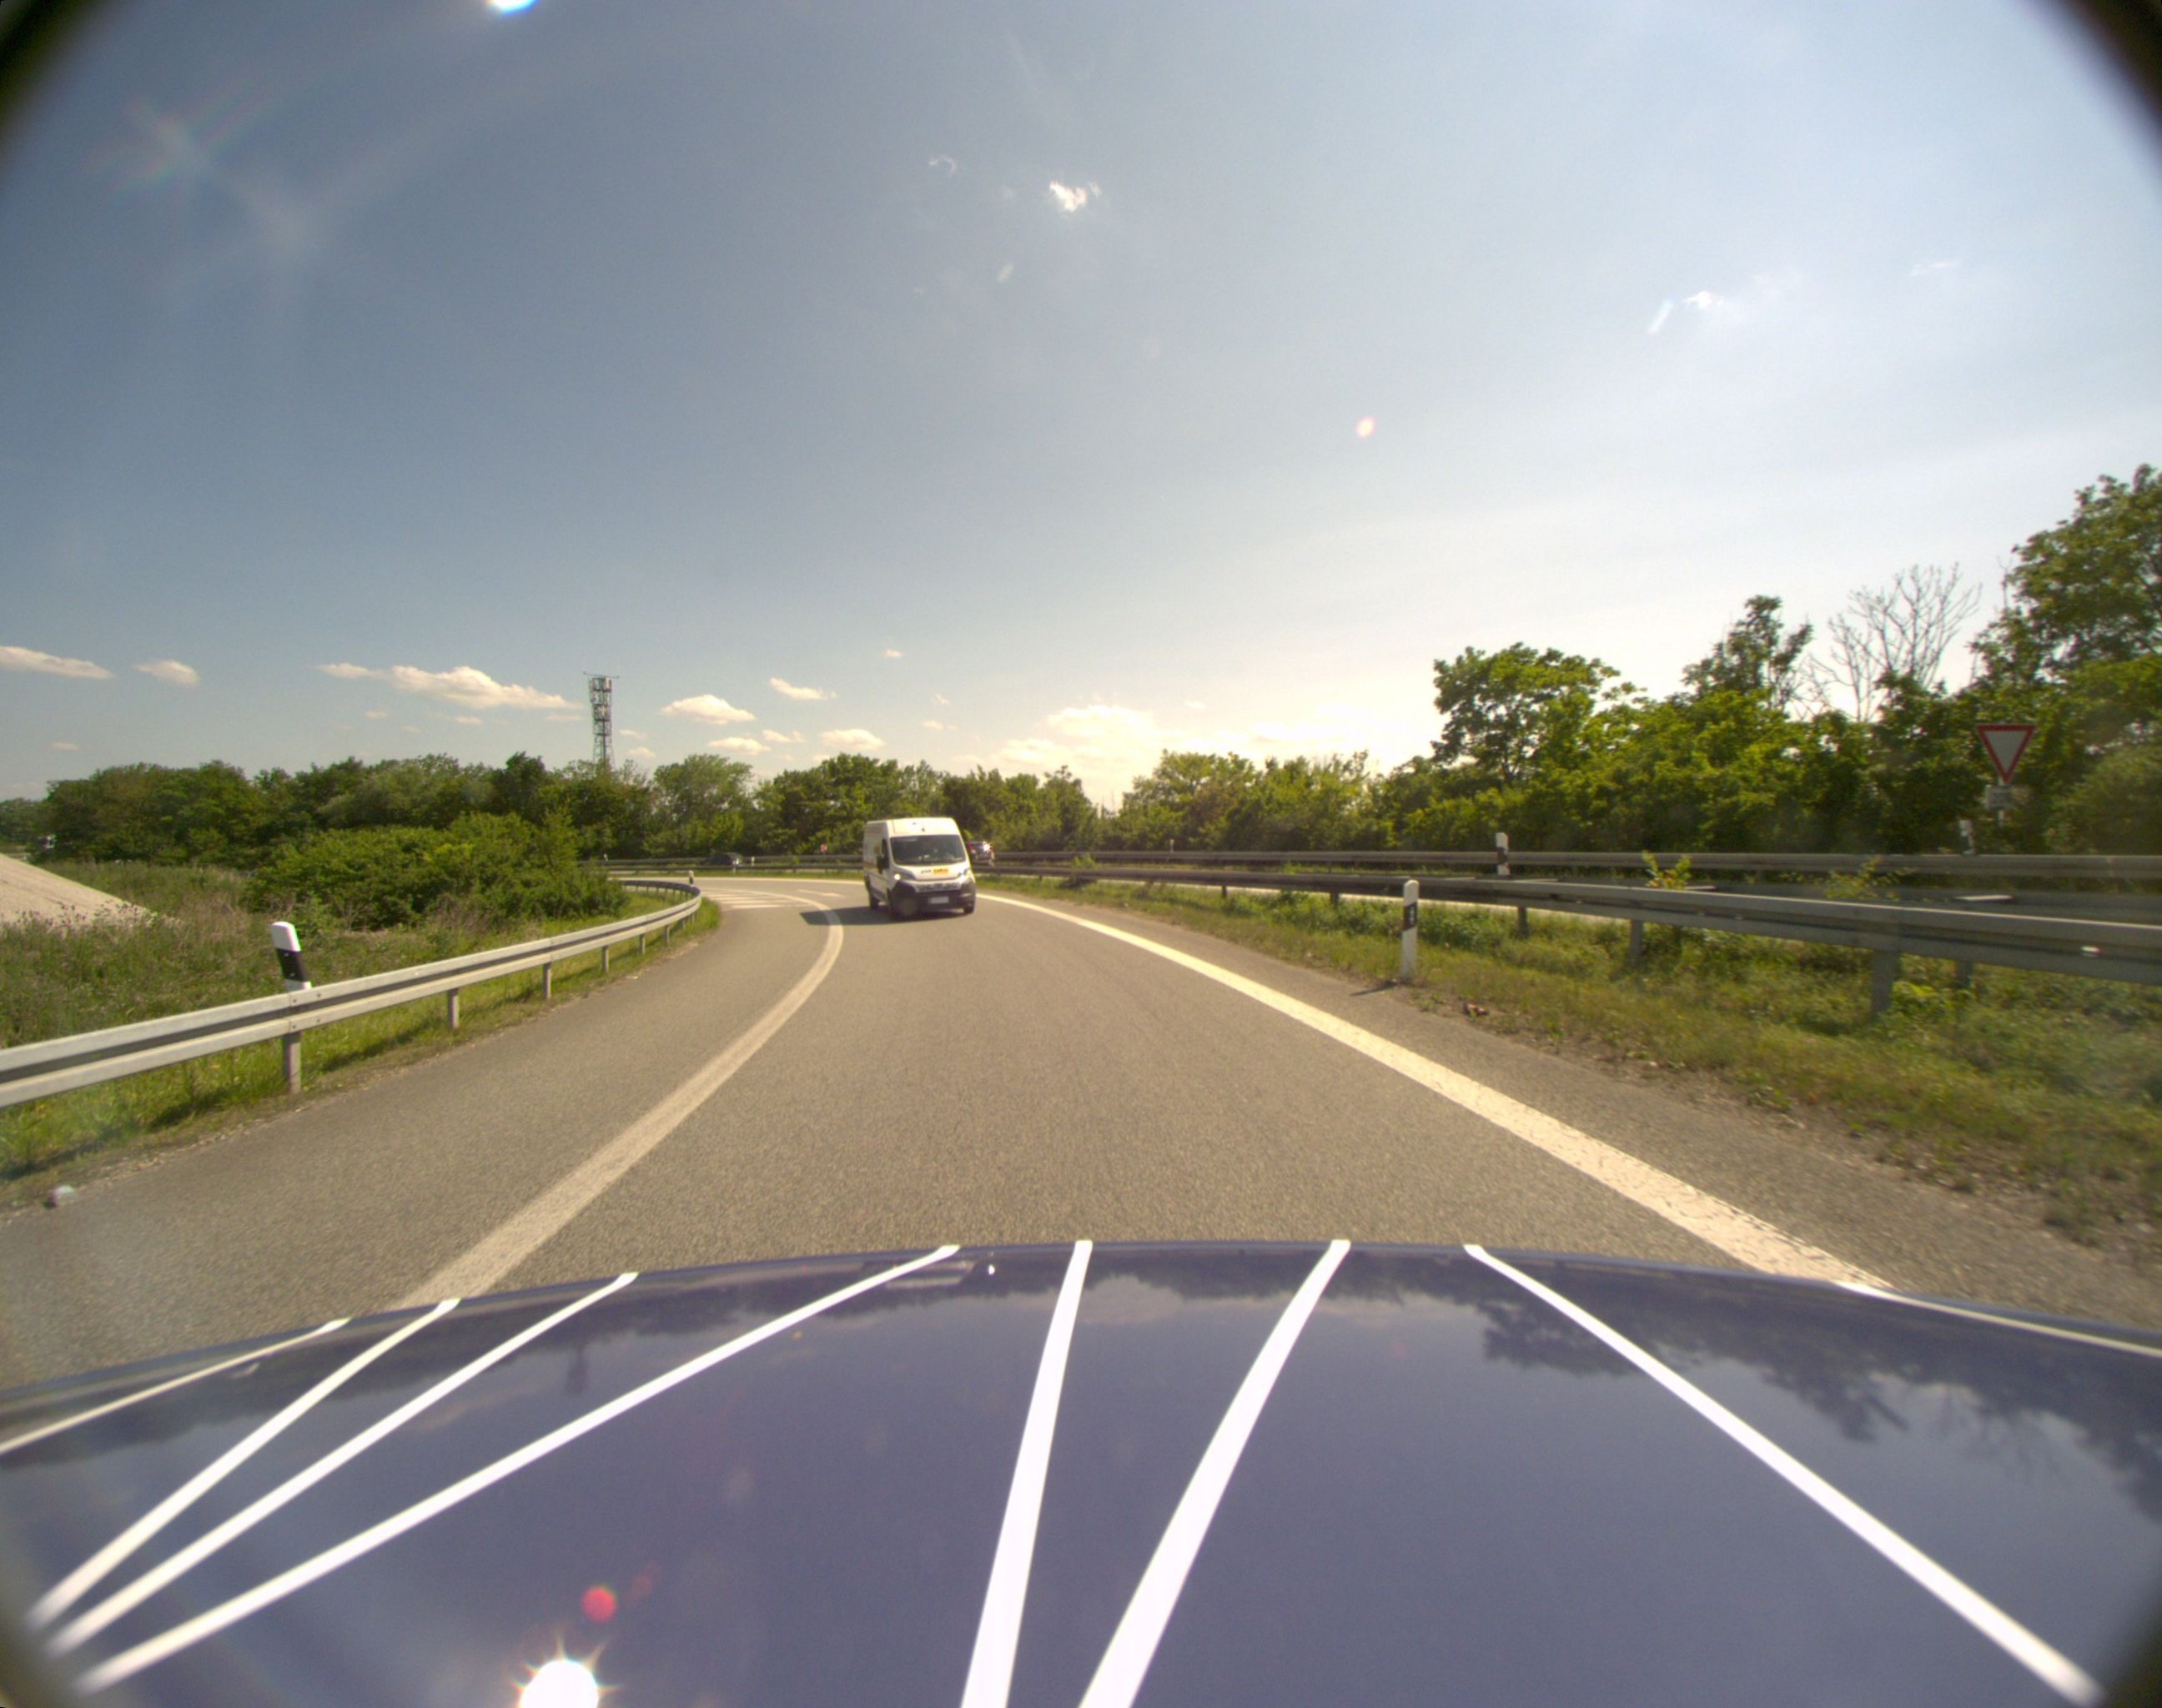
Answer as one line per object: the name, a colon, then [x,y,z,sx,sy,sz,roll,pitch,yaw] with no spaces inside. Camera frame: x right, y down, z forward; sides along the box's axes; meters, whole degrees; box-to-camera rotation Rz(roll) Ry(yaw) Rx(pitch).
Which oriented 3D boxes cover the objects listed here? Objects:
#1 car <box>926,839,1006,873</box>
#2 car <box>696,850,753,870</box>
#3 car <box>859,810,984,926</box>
car: [-6.606,0.125,43.340,2.003,1.721,5.183,-4,2,-41]
car: [-29.309,0.516,62.502,4.690,1.440,1.802,-2,3,30]
car: [-4.480,0.334,20.383,2.090,2.509,6.226,-5,1,-21]
